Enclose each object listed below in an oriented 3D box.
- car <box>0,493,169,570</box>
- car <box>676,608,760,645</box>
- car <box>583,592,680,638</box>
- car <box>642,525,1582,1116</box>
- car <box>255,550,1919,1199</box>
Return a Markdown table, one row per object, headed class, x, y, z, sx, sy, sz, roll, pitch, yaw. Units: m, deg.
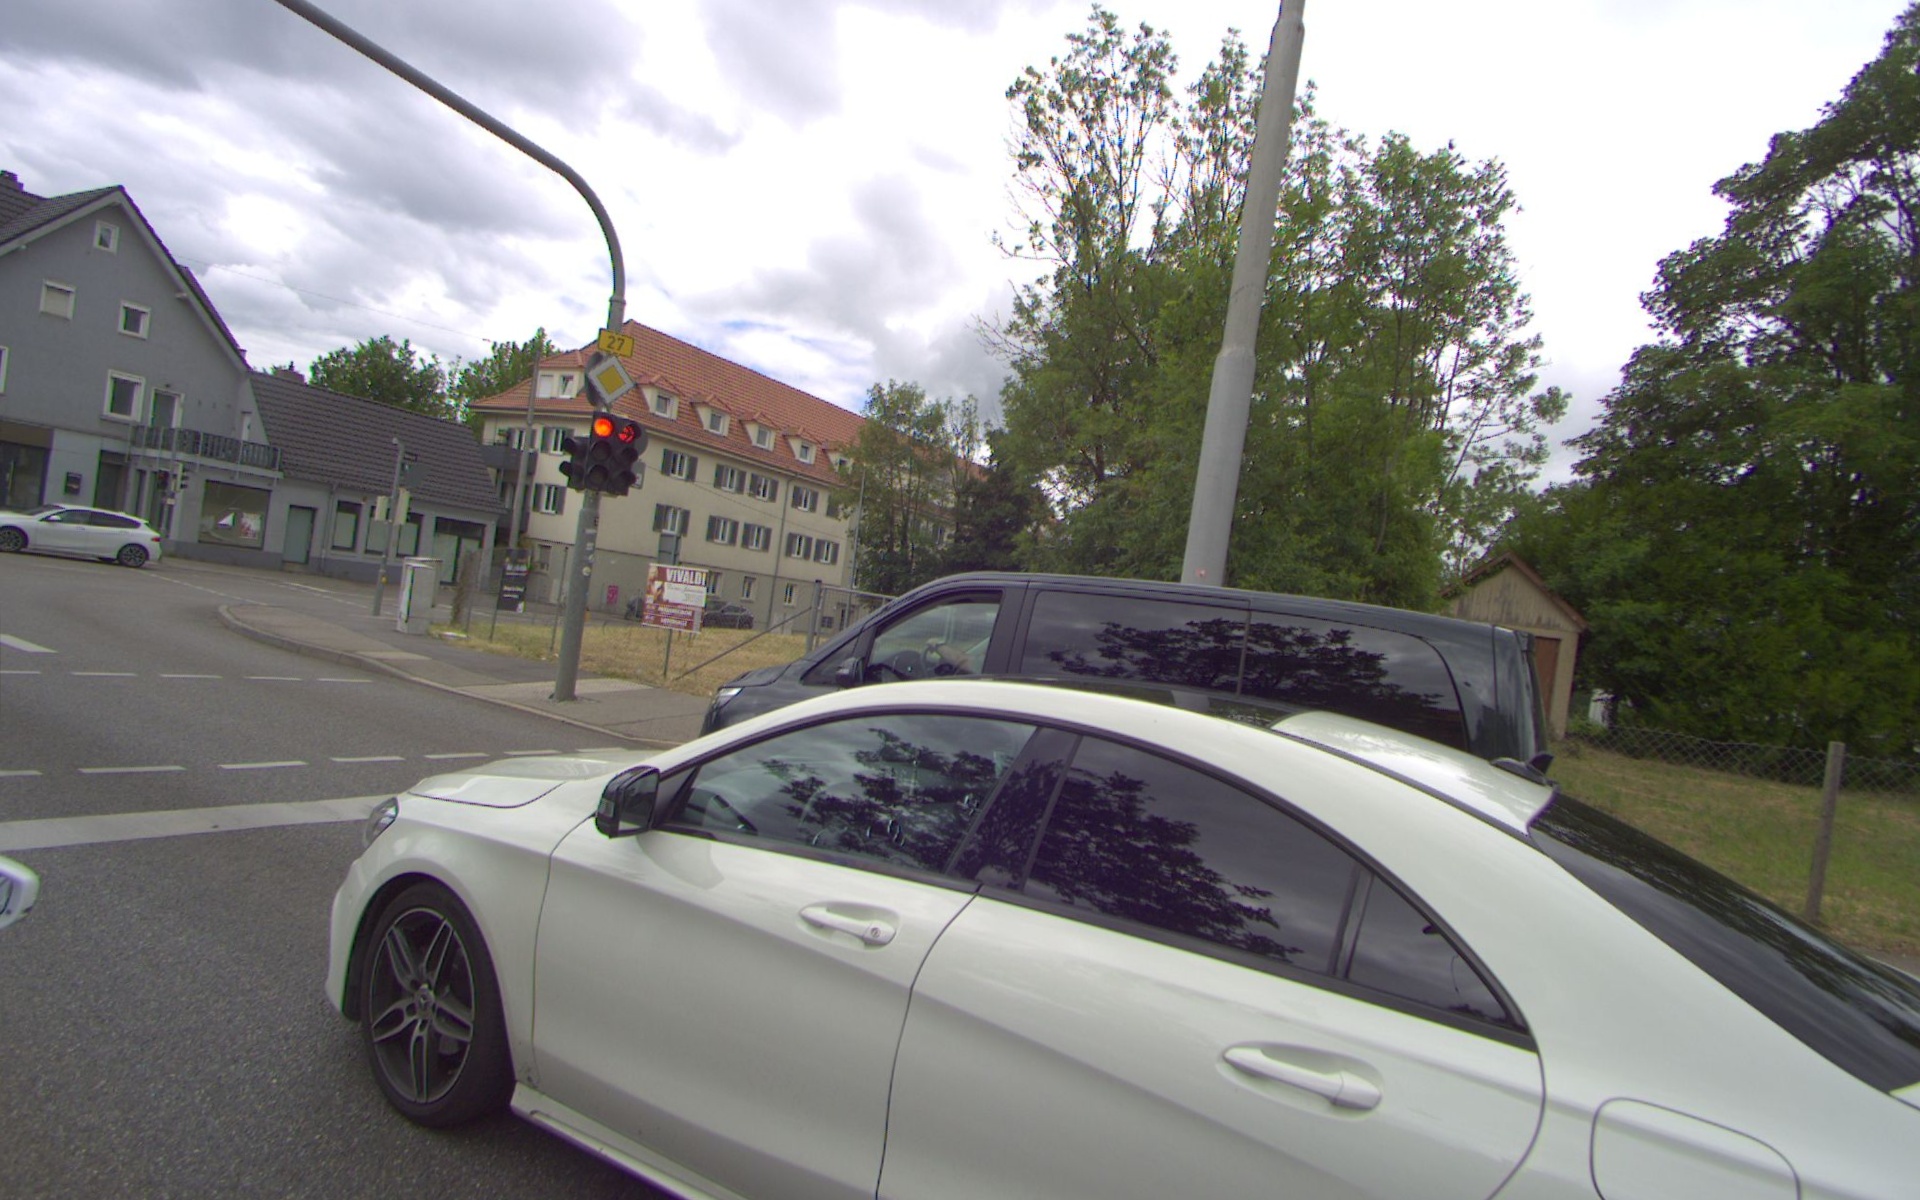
| class | x | y | z | sx | sy | sz | roll | pitch | yaw |
| --- | --- | --- | --- | --- | --- | --- | --- | --- | --- |
| car | -24.562 | -1.917 | 27.393 | 1.966 | 1.494 | 4.252 | 7 | -2 | 30 |
| car | -12.624 | 1.398 | 52.653 | 1.839 | 1.393 | 3.996 | 7 | -2 | 32 |
| car | -15.519 | 0.736 | 47.665 | 1.839 | 1.554 | 3.996 | 7 | -2 | 32 |
| car | 0.665 | 0.808 | 5.678 | 4.631 | 1.860 | 1.953 | 7 | -2 | 32 |
| car | 0.157 | 0.845 | 2.644 | 4.305 | 1.451 | 1.651 | 7 | 0 | 32 |
